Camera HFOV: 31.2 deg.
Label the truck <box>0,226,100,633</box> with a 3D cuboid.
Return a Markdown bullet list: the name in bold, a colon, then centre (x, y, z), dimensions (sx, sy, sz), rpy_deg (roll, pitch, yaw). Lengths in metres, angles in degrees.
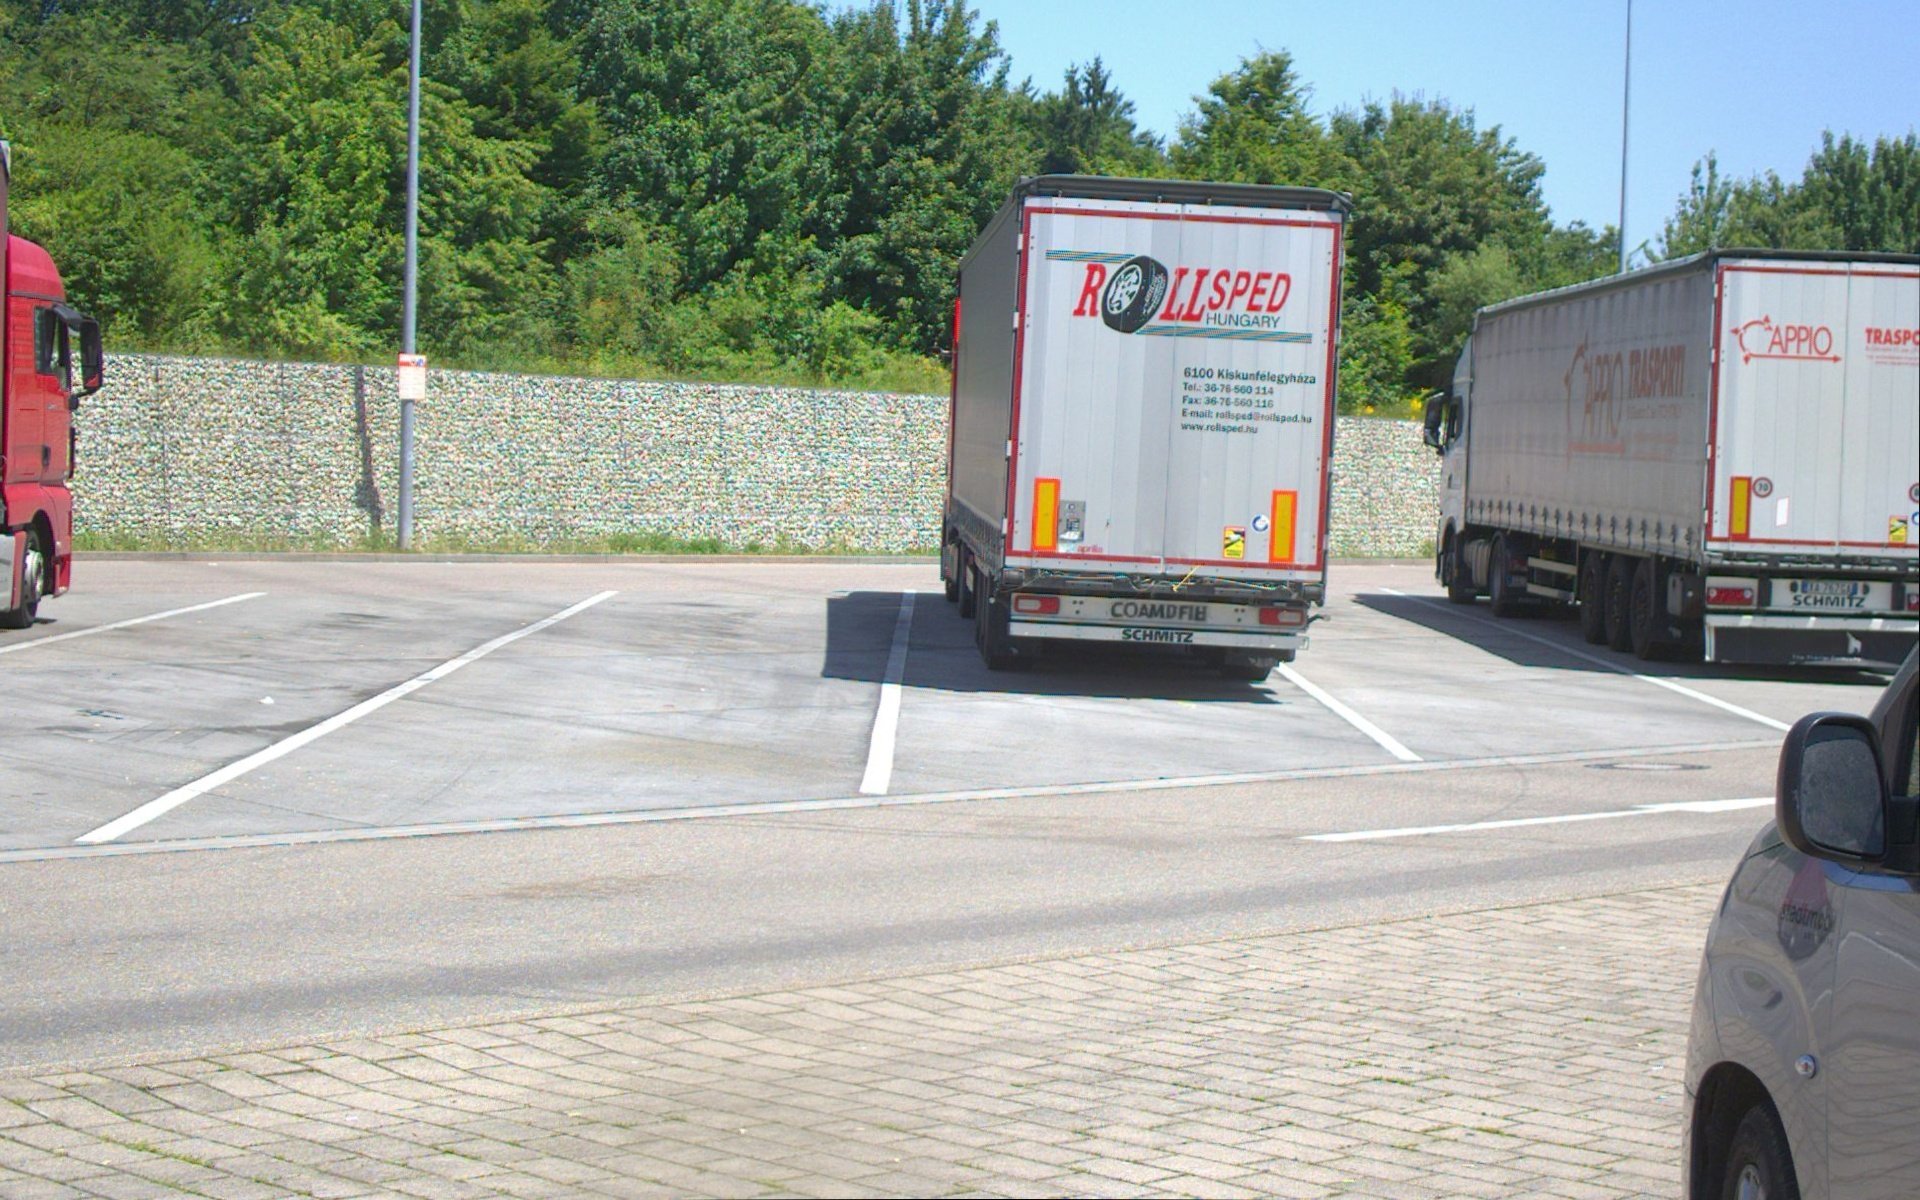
- **truck**: centre (-9.232, -1.443, 28.153), dimensions (2.851, 3.316, 5.900), rpy_deg (2, 3, -1)

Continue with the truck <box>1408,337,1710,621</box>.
- **truck**: centre (8.028, -1.696, 46.840), dimensions (2.862, 3.509, 5.900), rpy_deg (2, 3, -1)

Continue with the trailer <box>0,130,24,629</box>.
- **trailer**: centre (-9.189, -1.488, 21.579), dimensions (2.791, 4.071, 14.133), rpy_deg (2, 3, -1)

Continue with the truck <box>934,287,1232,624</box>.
- **truck**: centre (1.317, -1.733, 40.520), dimensions (3.103, 3.554, 5.900), rpy_deg (2, 3, -1)

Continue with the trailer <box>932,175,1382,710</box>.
- **trailer**: centre (1.454, -1.591, 33.628), dimensions (3.133, 3.976, 14.397), rpy_deg (2, 3, -1)

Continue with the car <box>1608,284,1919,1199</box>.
- **car**: centre (2.154, 0.585, 3.859), dimensions (1.869, 1.857, 4.177), rpy_deg (2, 2, -2)

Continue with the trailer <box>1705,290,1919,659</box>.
- **trailer**: centre (11.762, -1.452, 39.792), dimensions (2.811, 3.976, 14.396), rpy_deg (2, 3, -1)

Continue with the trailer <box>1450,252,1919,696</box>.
- **trailer**: centre (8.121, -1.520, 38.740), dimensions (2.811, 3.976, 14.396), rpy_deg (2, 3, -1)
